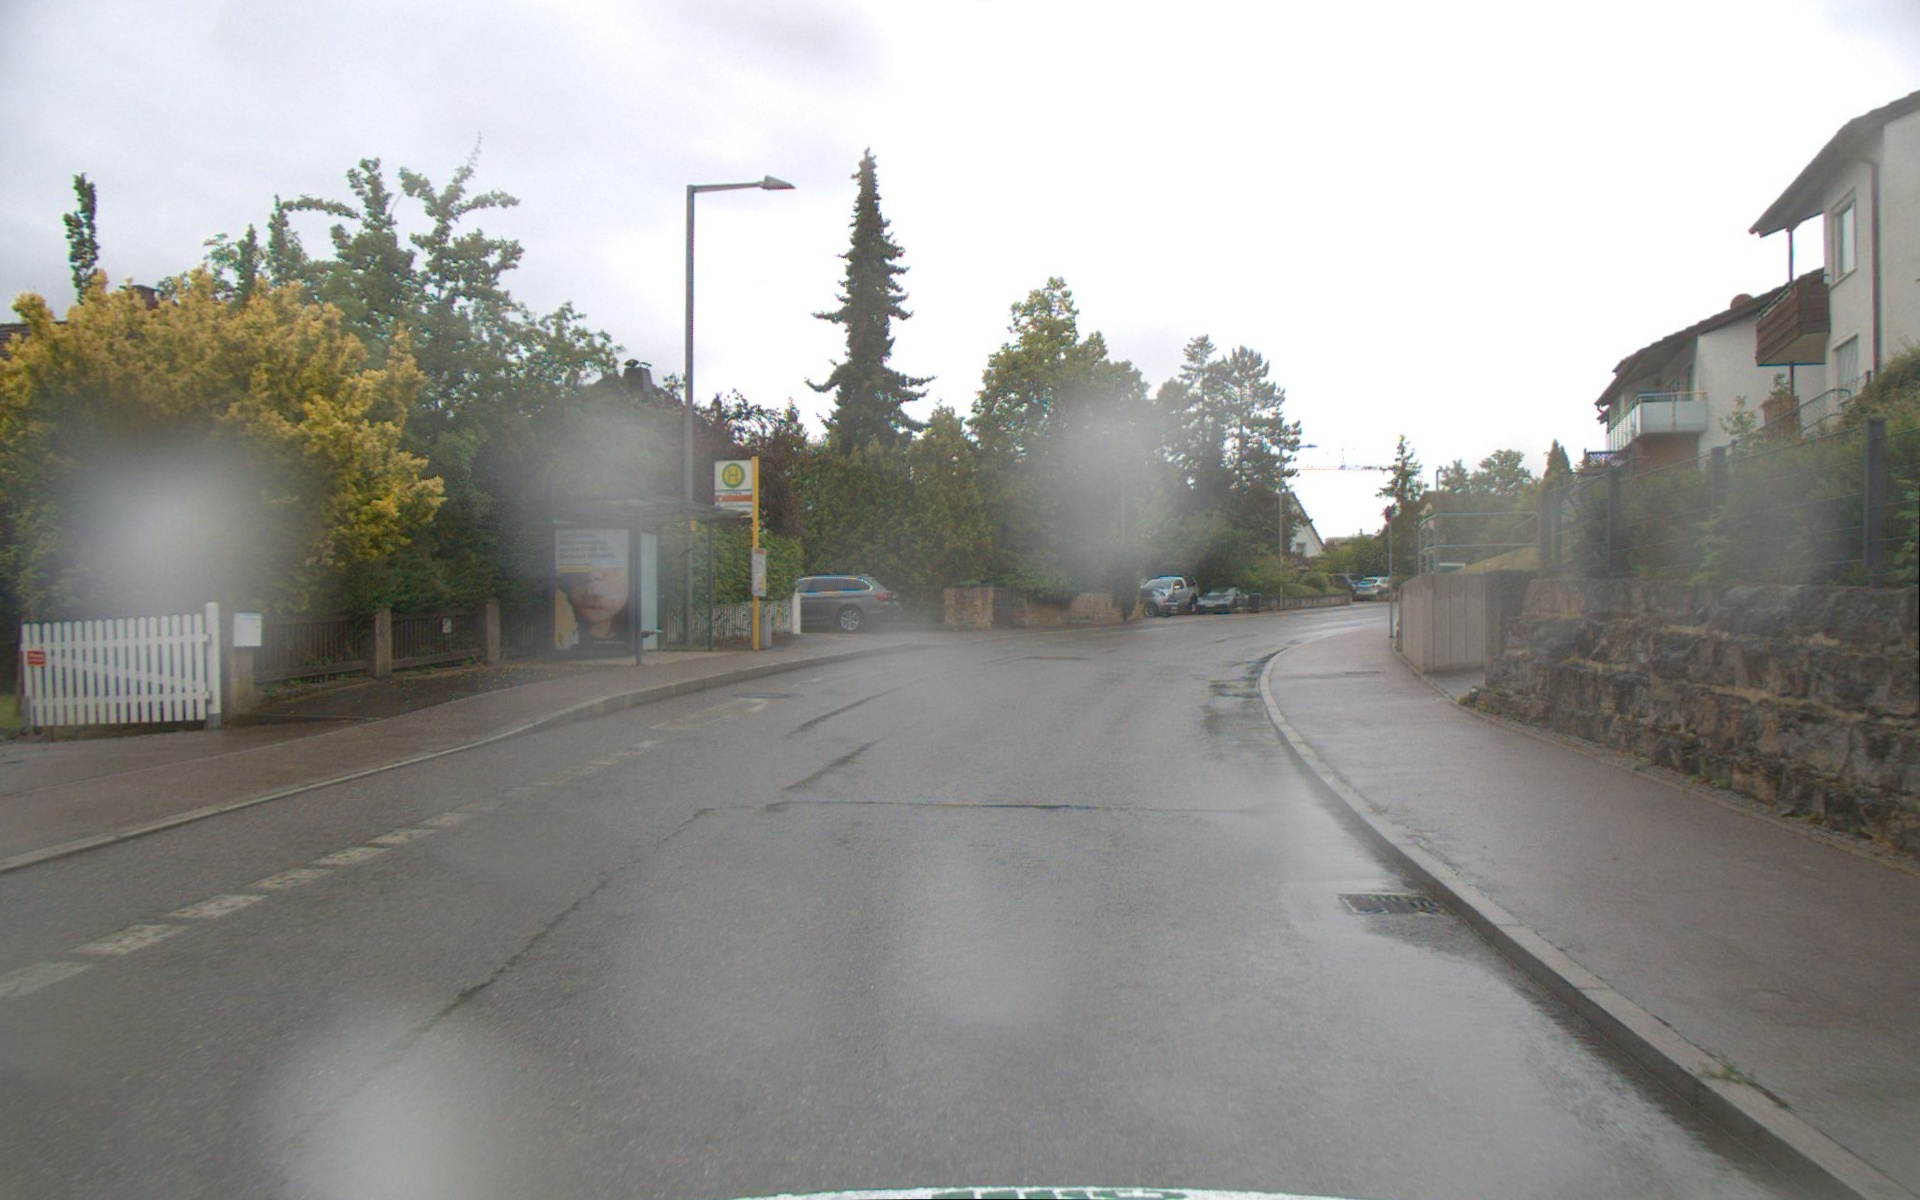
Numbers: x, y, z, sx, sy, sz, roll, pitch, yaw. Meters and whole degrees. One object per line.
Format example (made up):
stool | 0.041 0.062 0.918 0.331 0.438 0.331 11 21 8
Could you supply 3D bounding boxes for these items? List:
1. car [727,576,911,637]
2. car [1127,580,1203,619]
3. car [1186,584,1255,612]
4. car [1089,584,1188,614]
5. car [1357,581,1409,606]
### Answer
car | -3.625 0.155 42.836 4.443 1.501 1.841 0 0 9
car | 10.084 -0.047 80.975 1.955 1.876 5.471 0 0 27
car | 12.713 -0.106 80.473 1.955 1.330 4.427 -1 0 28
car | 7.854 -0.037 72.735 3.914 1.294 1.869 0 0 32
car | 27.028 -0.413 105.606 1.708 1.578 3.980 -1 0 39
